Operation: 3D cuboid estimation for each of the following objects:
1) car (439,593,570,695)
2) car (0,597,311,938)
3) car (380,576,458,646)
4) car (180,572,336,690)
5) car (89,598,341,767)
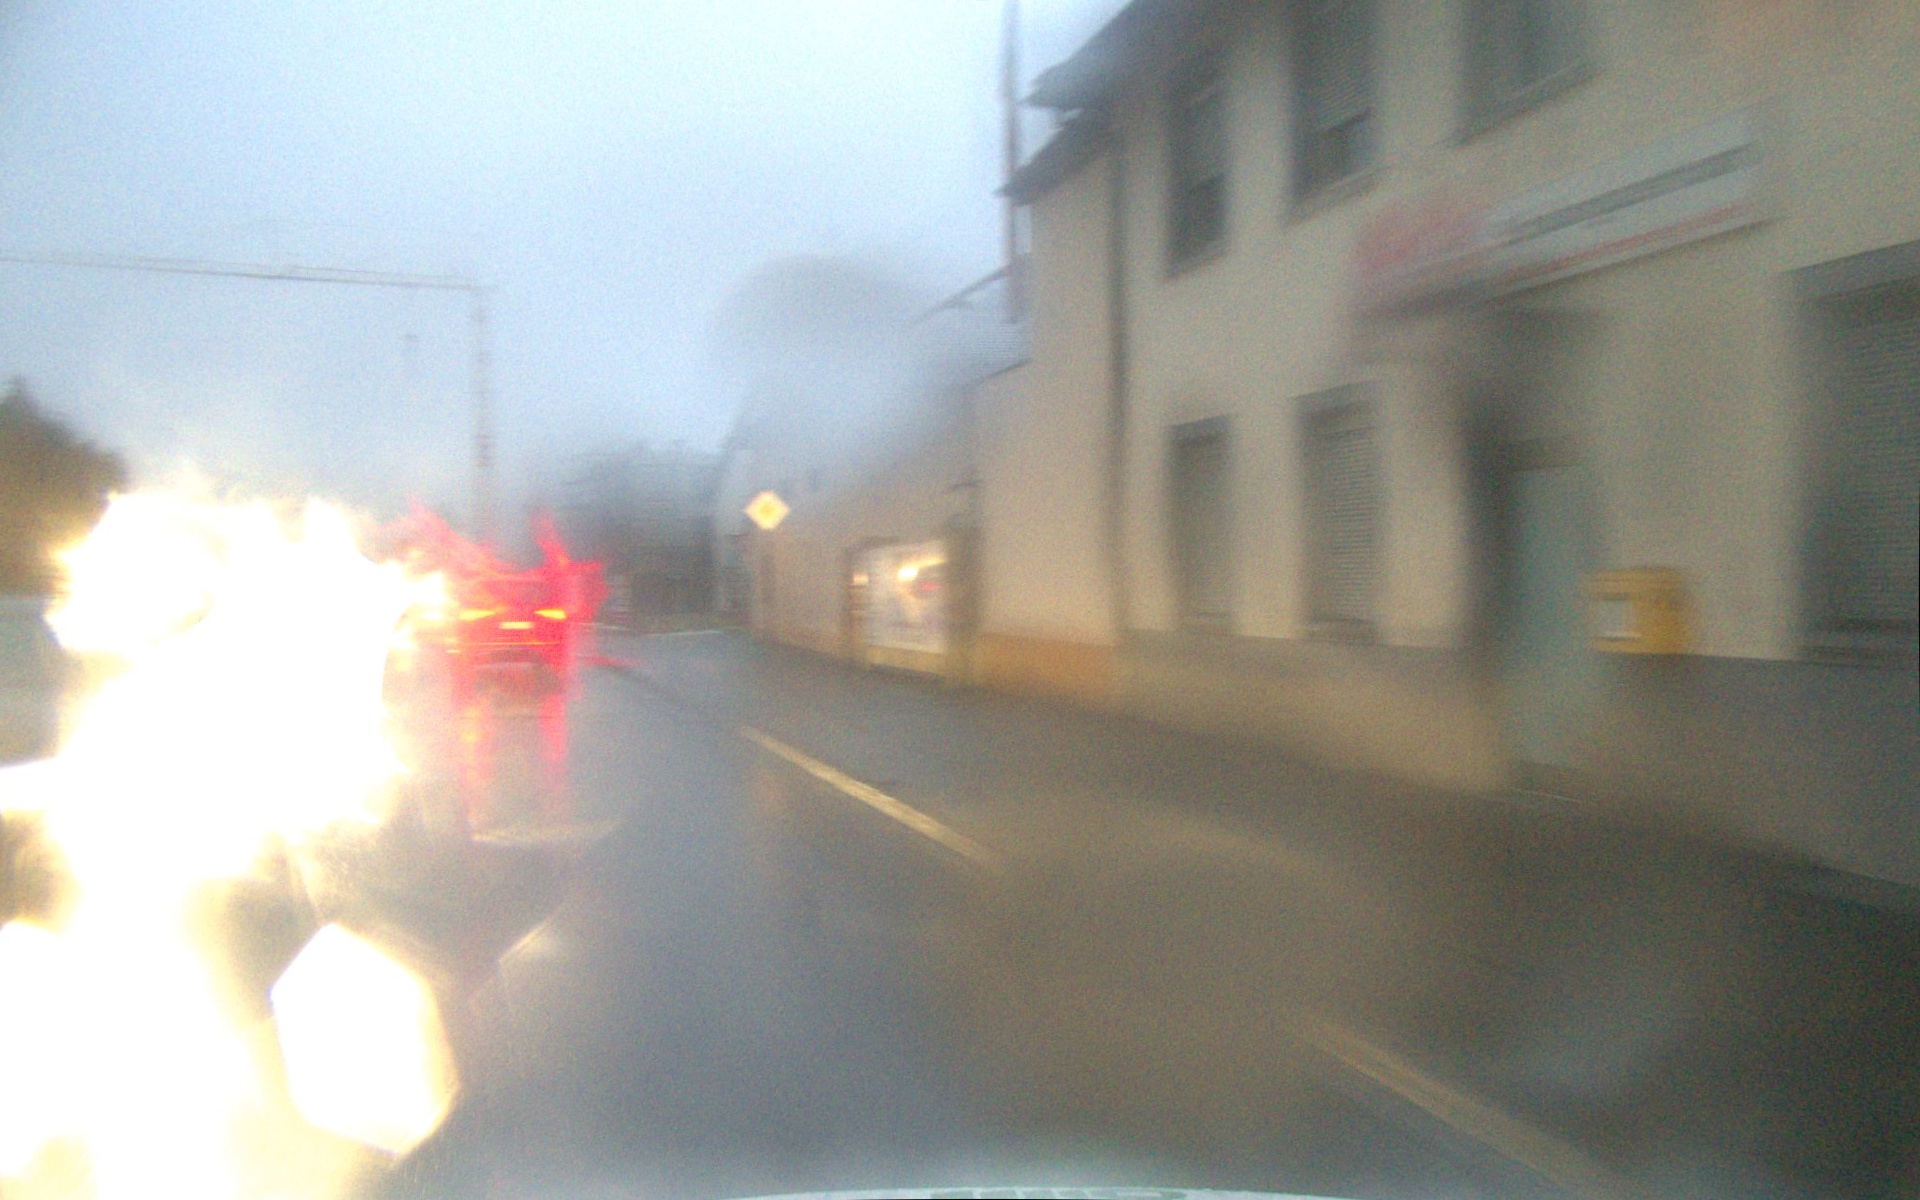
[{"bbox_3d":[-8.018,0.714,29.106,2.014,1.600,4.682,-1,0,-16],"label":"car"},{"bbox_3d":[-4.961,0.750,9.402,1.849,1.418,4.505,-2,1,-15],"label":"car"},{"bbox_3d":[-16.057,0.275,48.972,1.965,1.914,3.975,-2,1,-21],"label":"car"},{"bbox_3d":[-10.838,0.406,25.793,1.847,1.613,4.267,-2,2,-19],"label":"car"},{"bbox_3d":[-7.452,0.725,16.932,1.797,1.397,4.265,-2,1,-17],"label":"car"}]
